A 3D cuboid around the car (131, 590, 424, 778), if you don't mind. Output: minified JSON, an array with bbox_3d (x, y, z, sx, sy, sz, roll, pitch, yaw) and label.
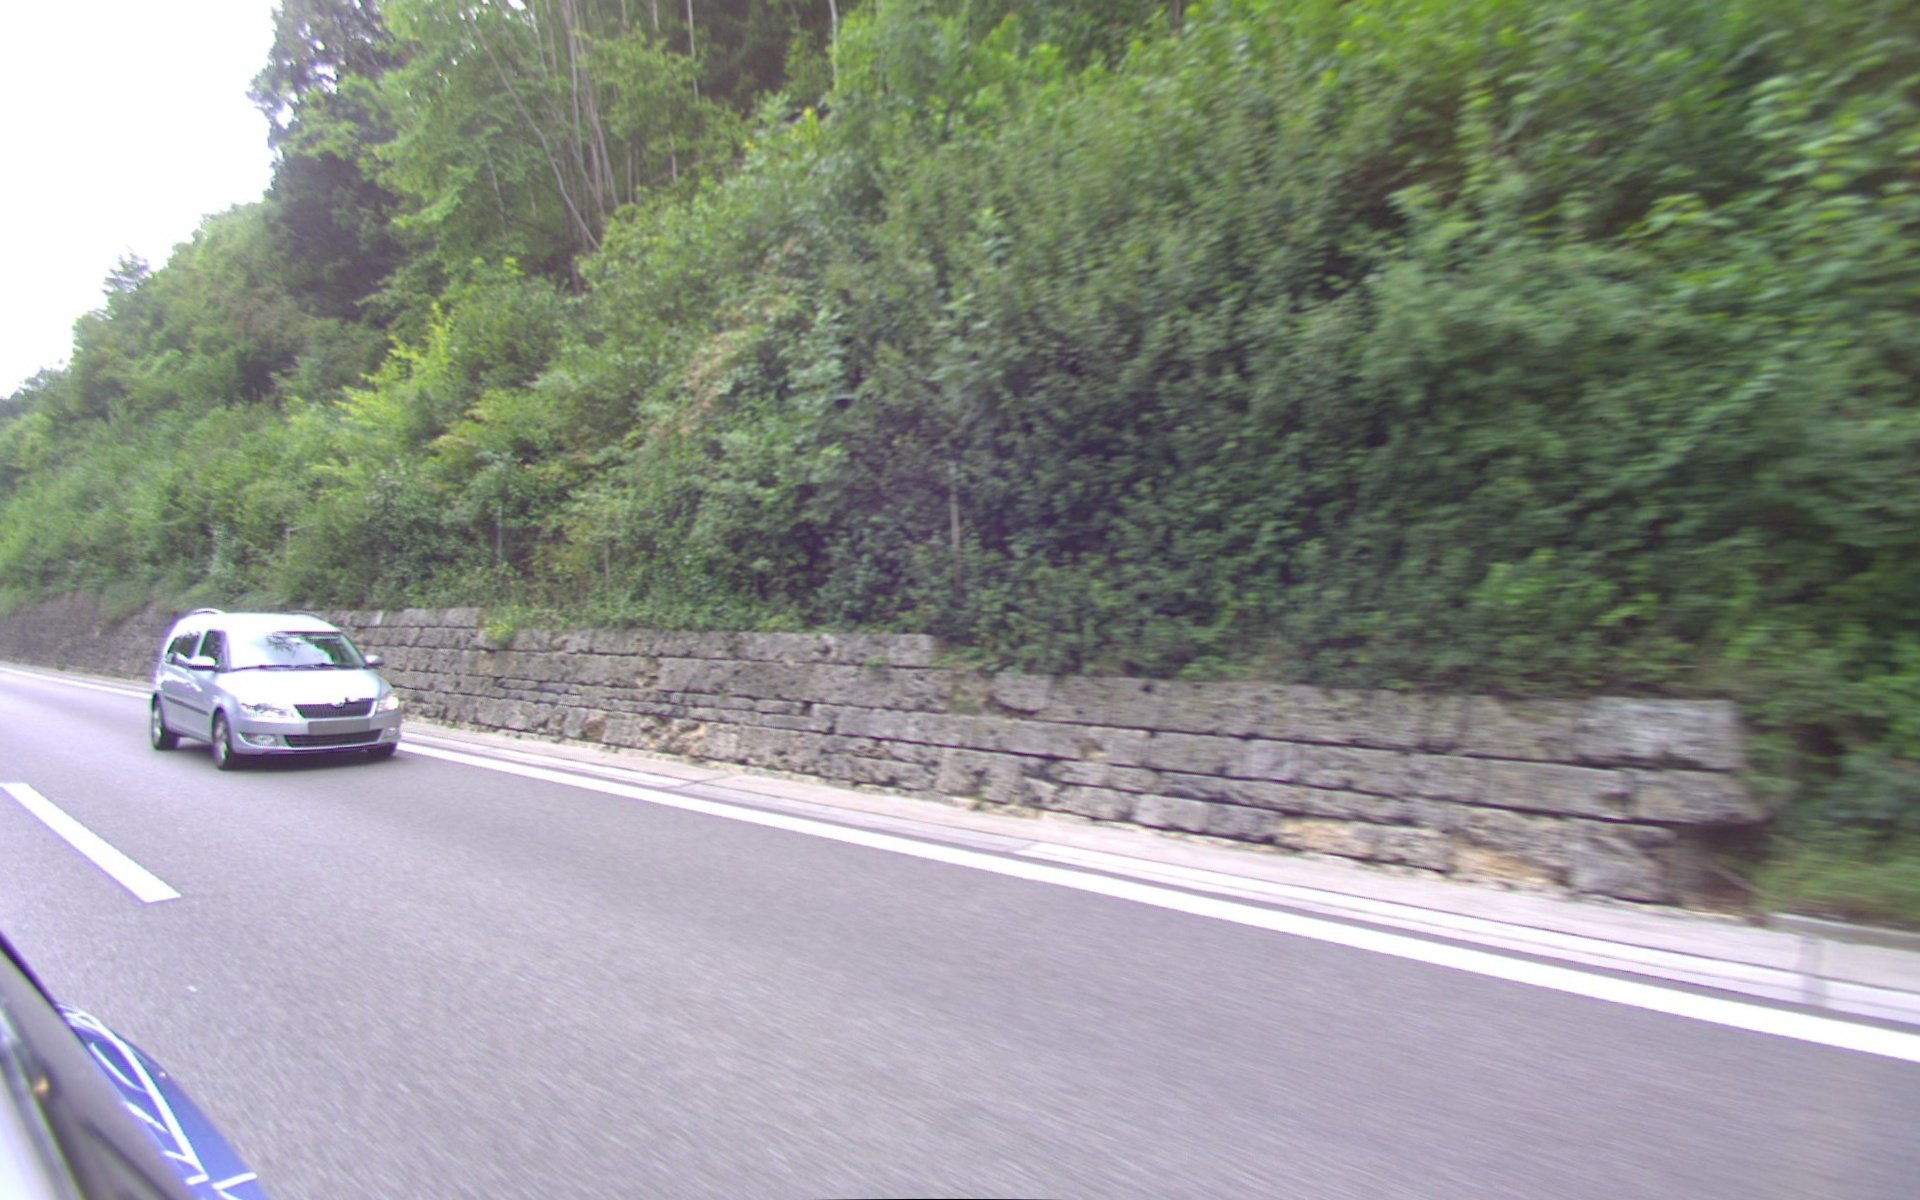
[{"bbox_3d":[-7.832,0.855,11.444,4.342,1.740,1.617,-1,-4,41],"label":"car"}]
